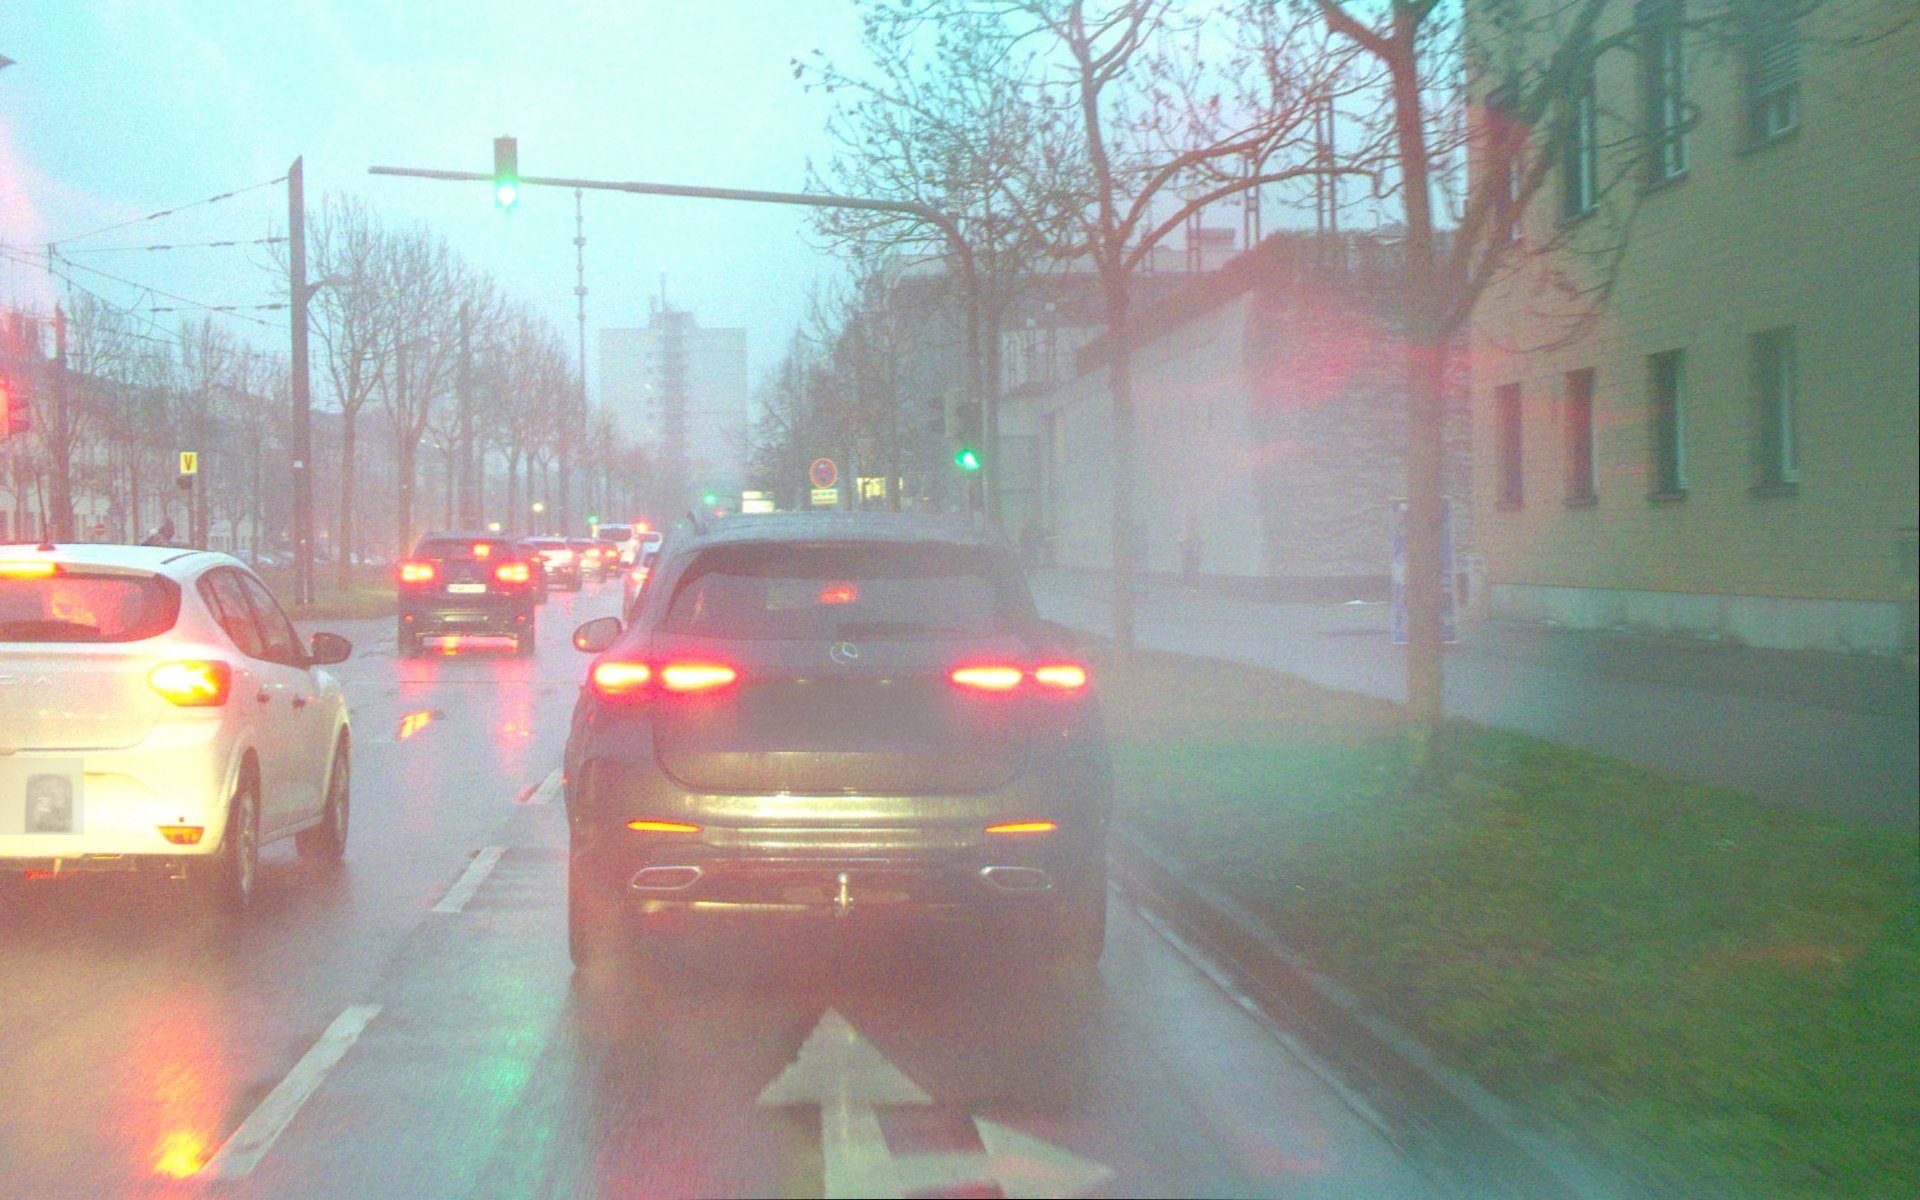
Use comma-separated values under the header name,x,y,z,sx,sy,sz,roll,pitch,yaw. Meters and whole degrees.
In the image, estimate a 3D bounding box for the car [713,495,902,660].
name,x,y,z,sx,sy,sz,roll,pitch,yaw
car,-1.755,-0.284,39.184,1.993,1.738,4.001,-2,1,-3

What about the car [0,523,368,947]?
name,x,y,z,sx,sy,sz,roll,pitch,yaw
car,-3.673,0.476,14.999,1.672,1.594,4.054,-1,1,-3

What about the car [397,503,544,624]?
name,x,y,z,sx,sy,sz,roll,pitch,yaw
car,-6.763,-0.522,47.813,1.672,1.594,4.054,-1,1,-3

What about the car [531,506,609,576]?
name,x,y,z,sx,sy,sz,roll,pitch,yaw
car,-11.469,-1.718,101.352,1.993,2.007,4.000,0,0,-2

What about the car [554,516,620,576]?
name,x,y,z,sx,sy,sz,roll,pitch,yaw
car,-12.903,-1.858,119.067,1.993,2.007,4.000,0,0,-2

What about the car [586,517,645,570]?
name,x,y,z,sx,sy,sz,roll,pitch,yaw
car,-13.481,-2.219,134.682,1.993,2.007,4.001,-1,1,-2

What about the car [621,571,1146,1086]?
name,x,y,z,sx,sy,sz,roll,pitch,yaw
car,-0.351,0.714,13.056,1.672,1.594,4.054,-1,1,-3

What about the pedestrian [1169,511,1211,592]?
name,x,y,z,sx,sy,sz,roll,pitch,yaw
pedestrian,4.645,-0.982,69.553,0.621,1.605,1.067,-2,1,-7

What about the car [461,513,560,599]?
name,x,y,z,sx,sy,sz,roll,pitch,yaw
car,-10.787,-1.042,82.775,1.993,2.007,4.000,0,0,-2
